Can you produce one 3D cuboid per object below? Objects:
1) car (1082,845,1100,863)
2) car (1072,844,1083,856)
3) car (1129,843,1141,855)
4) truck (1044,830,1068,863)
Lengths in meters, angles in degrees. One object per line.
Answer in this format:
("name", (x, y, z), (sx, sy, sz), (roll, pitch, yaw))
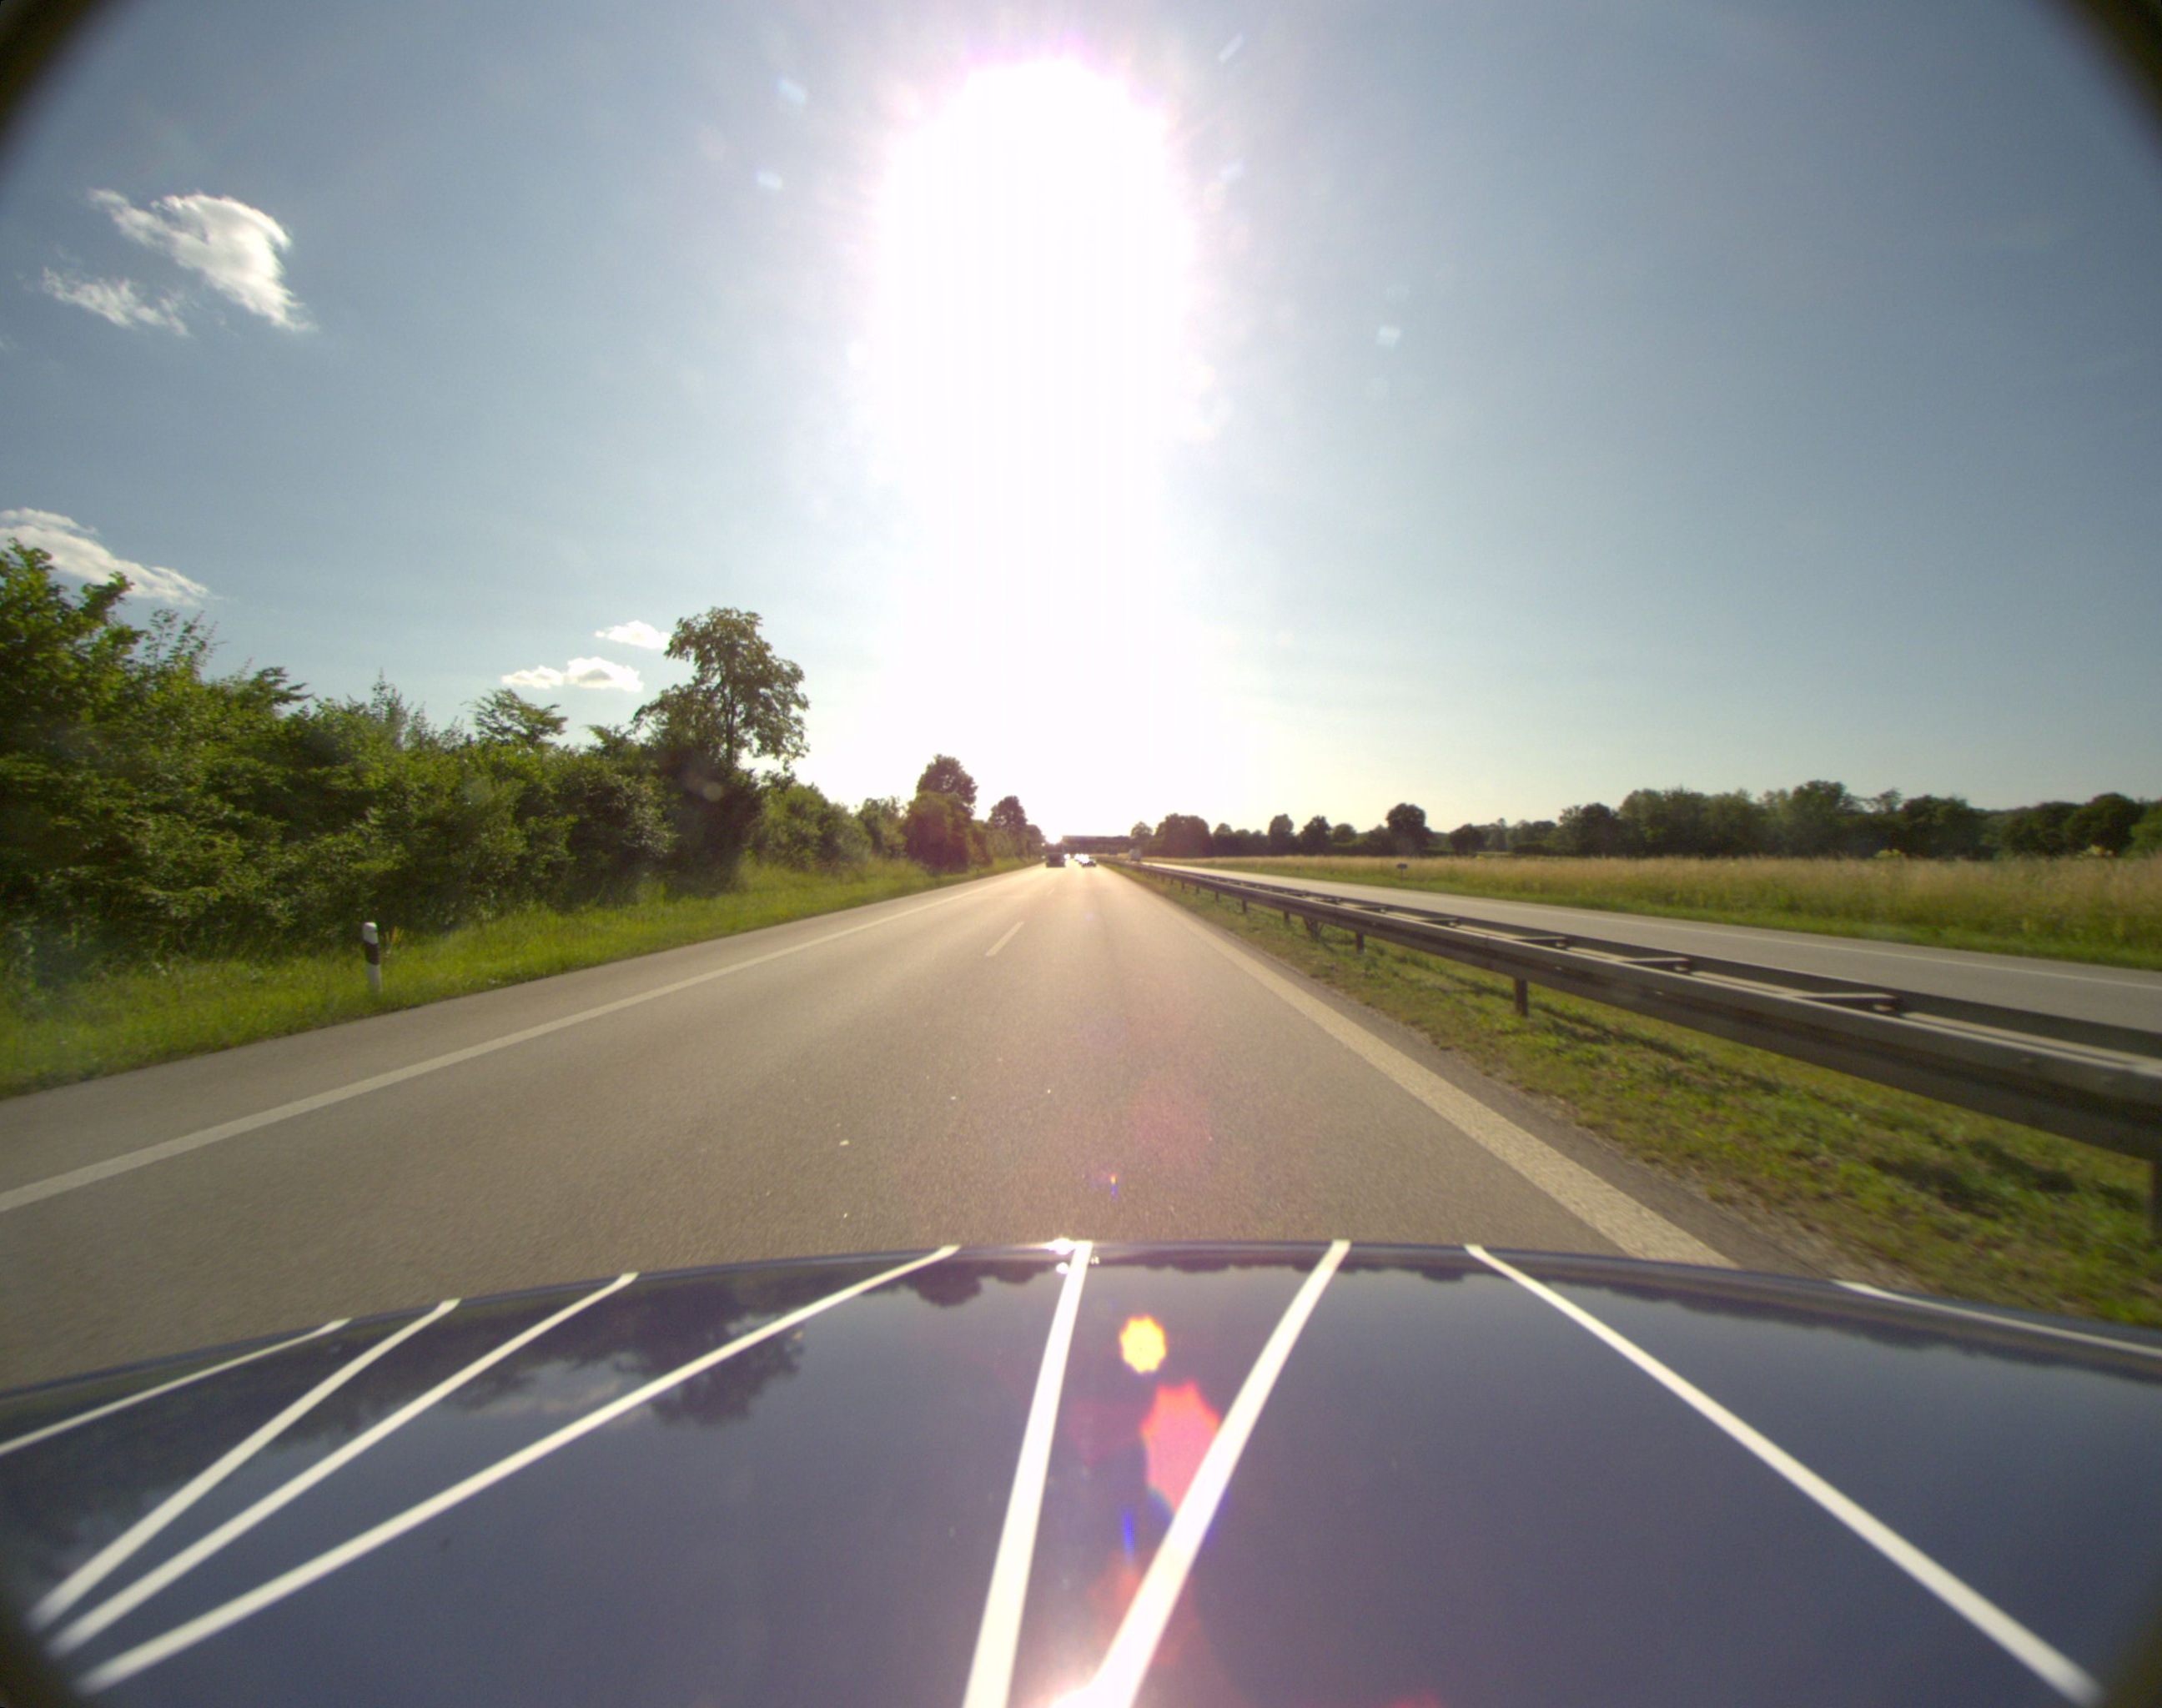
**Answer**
("car", (1.247, -0.026, 90.475), (1.998, 2.002, 4.358), (-2, 1, 1))
("car", (-0.768, -0.956, 176.353), (2.193, 2.502, 5.351), (-2, 1, 1))
("car", (11.628, -1.085, 163.273), (2.193, 2.502, 5.351), (-2, 1, 1))
("truck", (-3.333, -1.002, 103.810), (2.759, 4.242, 8.492), (-2, 1, 1))
